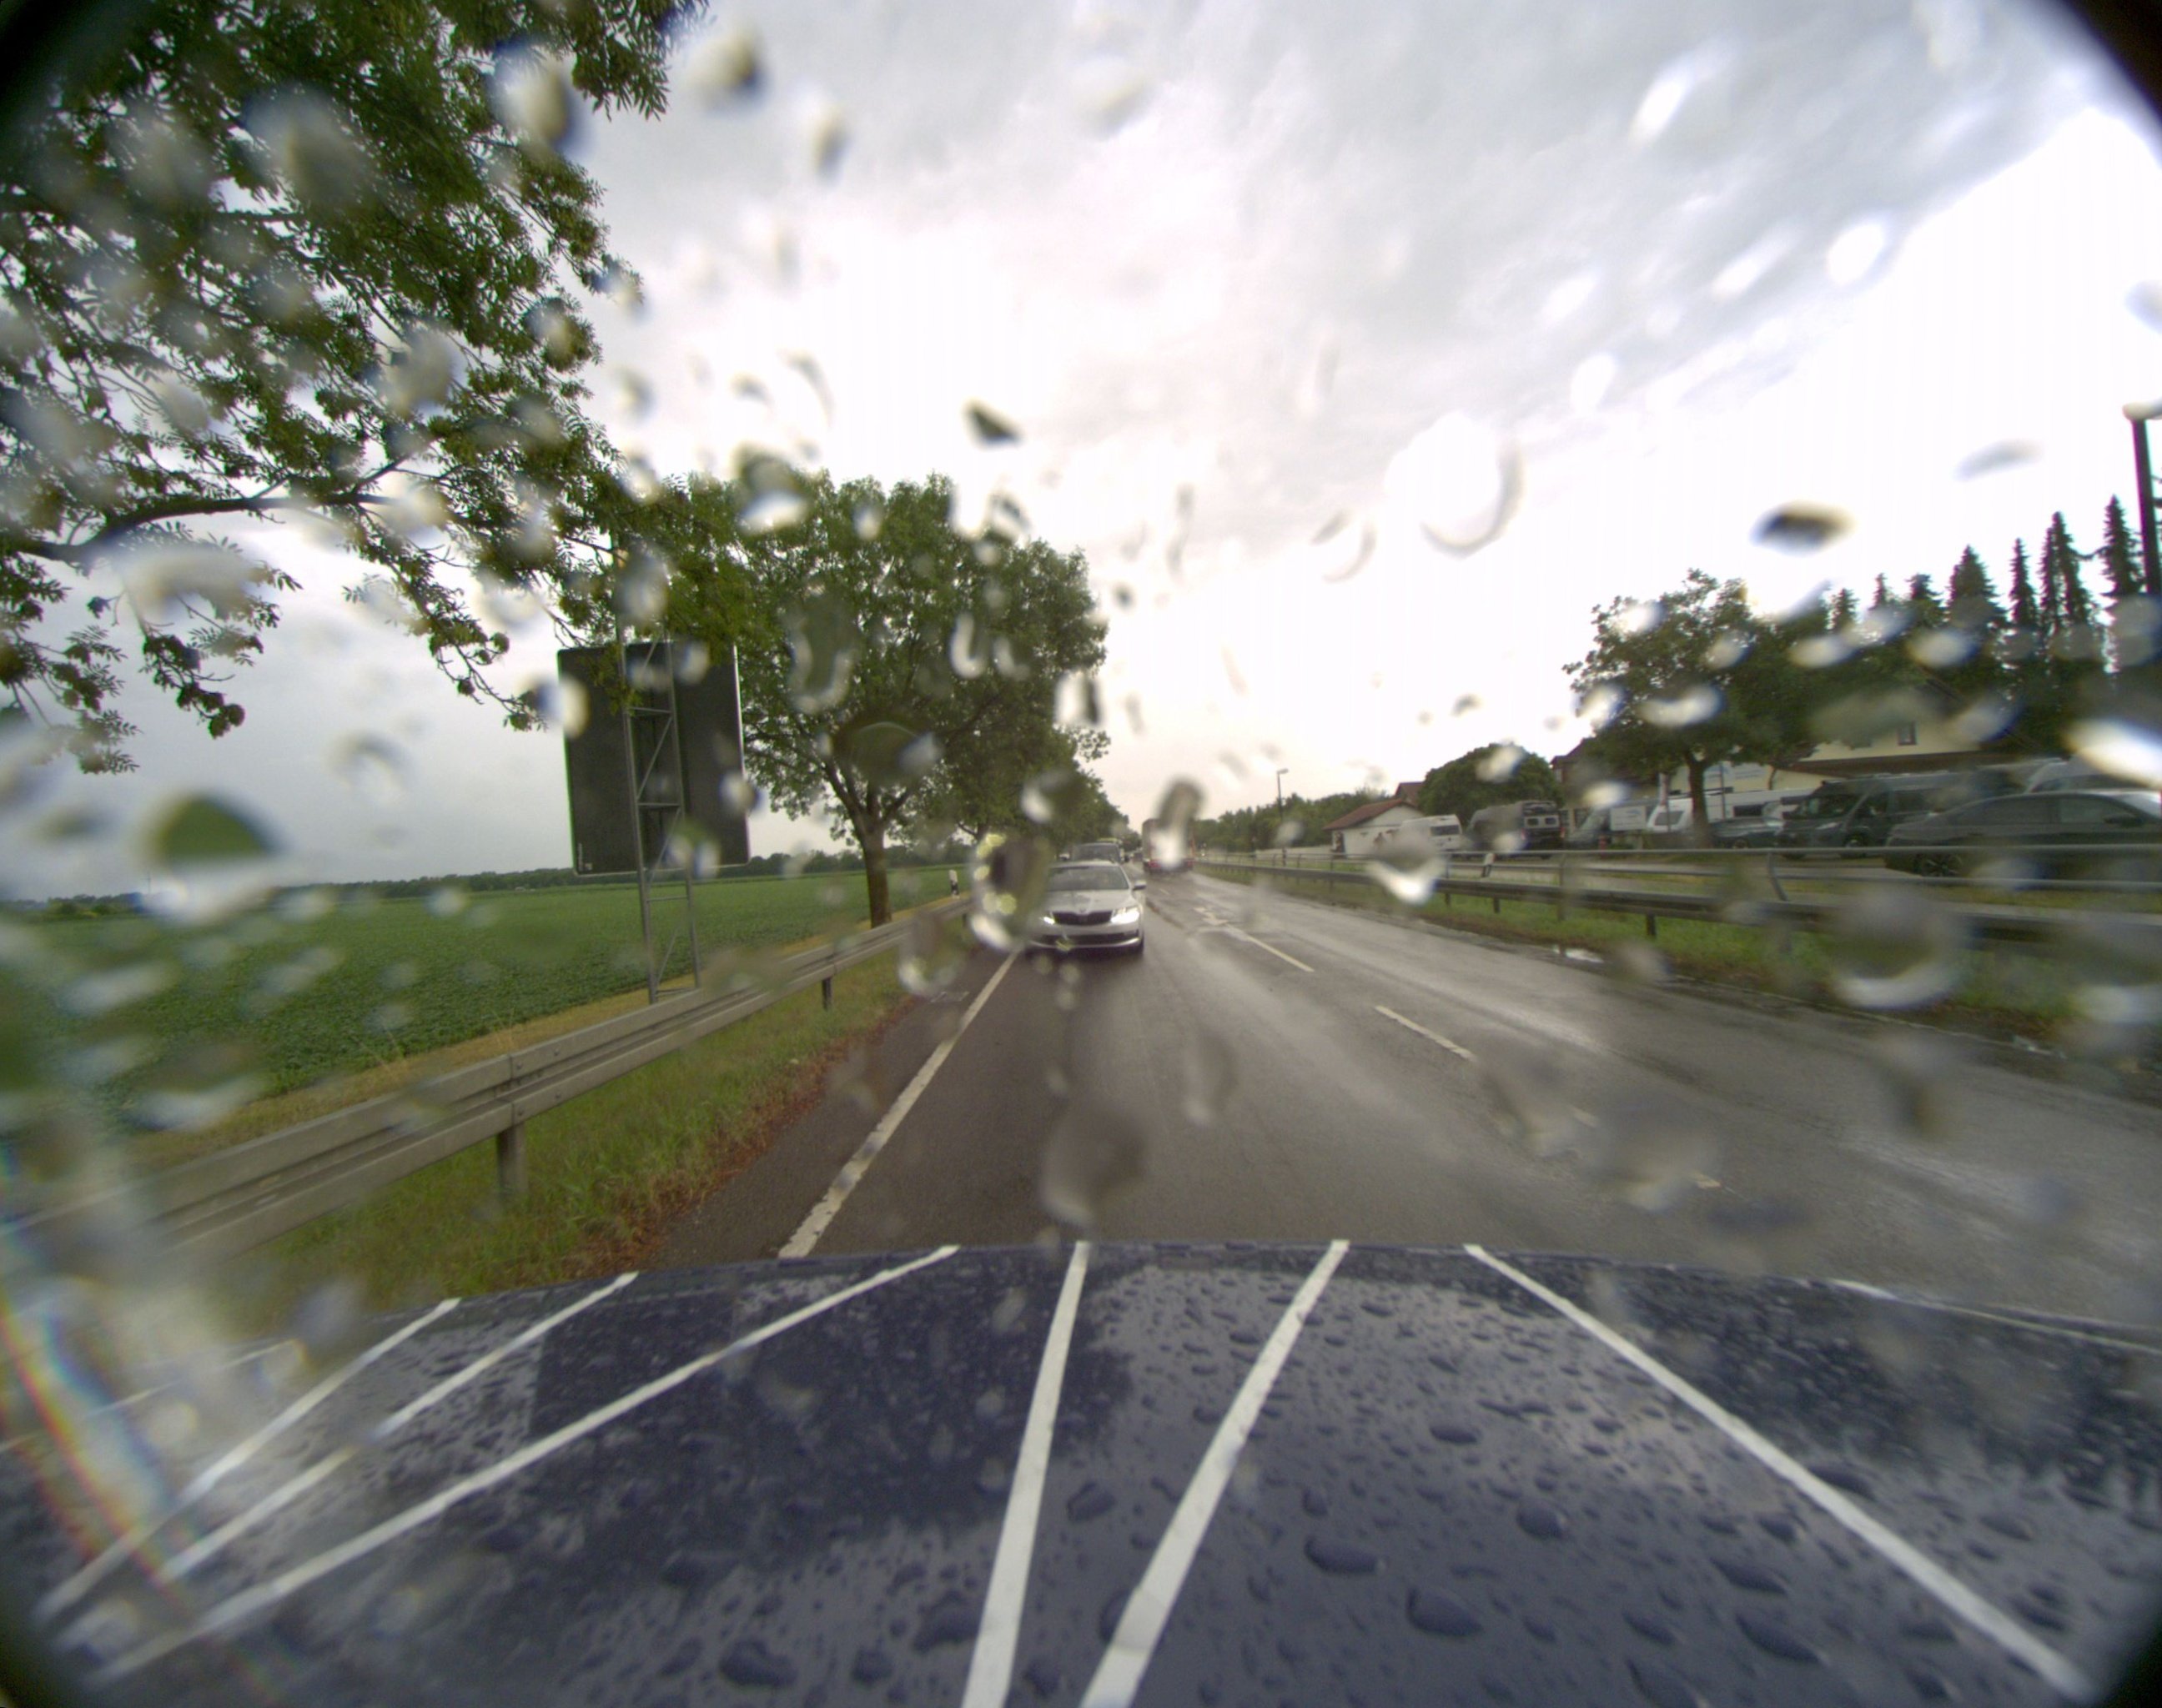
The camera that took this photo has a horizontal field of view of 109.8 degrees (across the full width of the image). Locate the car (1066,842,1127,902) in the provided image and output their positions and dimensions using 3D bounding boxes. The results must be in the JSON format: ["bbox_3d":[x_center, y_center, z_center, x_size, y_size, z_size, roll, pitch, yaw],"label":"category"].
[{"bbox_3d":[0.519,0.578,26.502,1.903,1.884,4.000,-1,0,1],"label":"car"}]

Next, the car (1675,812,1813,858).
[{"bbox_3d":[25.508,-0.721,29.310,3.894,1.487,1.540,-4,0,1],"label":"car"}]

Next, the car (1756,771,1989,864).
[{"bbox_3d":[24.634,-1.098,23.771,5.196,2.487,2.000,-4,1,-2],"label":"car"}]

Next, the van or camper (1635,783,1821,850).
[{"bbox_3d":[29.497,-1.657,34.802,6.239,2.576,2.562,-4,0,0],"label":"van or camper"}]

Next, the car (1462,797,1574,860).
[{"bbox_3d":[21.721,-1.194,38.126,2.389,2.747,5.573,-4,0,1],"label":"car"}]

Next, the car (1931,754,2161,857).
[{"bbox_3d":[26.842,-1.300,20.723,5.105,2.445,2.000,-4,1,-2],"label":"car"}]

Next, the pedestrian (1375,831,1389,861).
[{"bbox_3d":[17.136,-0.461,43.265,0.516,1.701,0.650,-3,1,9],"label":"pedestrian"}]

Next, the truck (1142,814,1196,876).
[{"bbox_3d":[5.360,-0.538,47.894,2.582,3.432,9.556,-2,0,2],"label":"truck"}]

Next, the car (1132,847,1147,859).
[{"bbox_3d":[8.128,-0.121,105.792,1.768,1.610,4.000,-2,0,0],"label":"car"}]

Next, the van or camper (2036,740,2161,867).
[{"bbox_3d":[25.602,-1.256,16.966,5.890,2.662,2.081,-4,1,0],"label":"van or camper"}]

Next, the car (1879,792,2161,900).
[{"bbox_3d":[15.594,-0.132,11.432,1.520,1.482,5.120,-2,0,-4],"label":"car"}]

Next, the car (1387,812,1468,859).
[{"bbox_3d":[21.428,-1.080,47.326,2.243,2.565,6.019,-4,0,1],"label":"car"}]

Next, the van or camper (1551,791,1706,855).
[{"bbox_3d":[27.902,-1.530,38.876,6.068,2.785,2.434,-4,0,0],"label":"van or camper"}]

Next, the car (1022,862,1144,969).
[{"bbox_3d":[0.047,0.899,12.804,1.705,1.438,4.000,-1,0,1],"label":"car"}]

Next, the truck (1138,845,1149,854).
[{"bbox_3d":[18.054,-1.412,220.082,2.800,2.461,7.169,-3,0,4],"label":"truck"}]

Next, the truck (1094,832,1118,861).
[{"bbox_3d":[3.343,-0.960,101.150,2.751,3.547,8.387,-3,0,2],"label":"truck"}]
